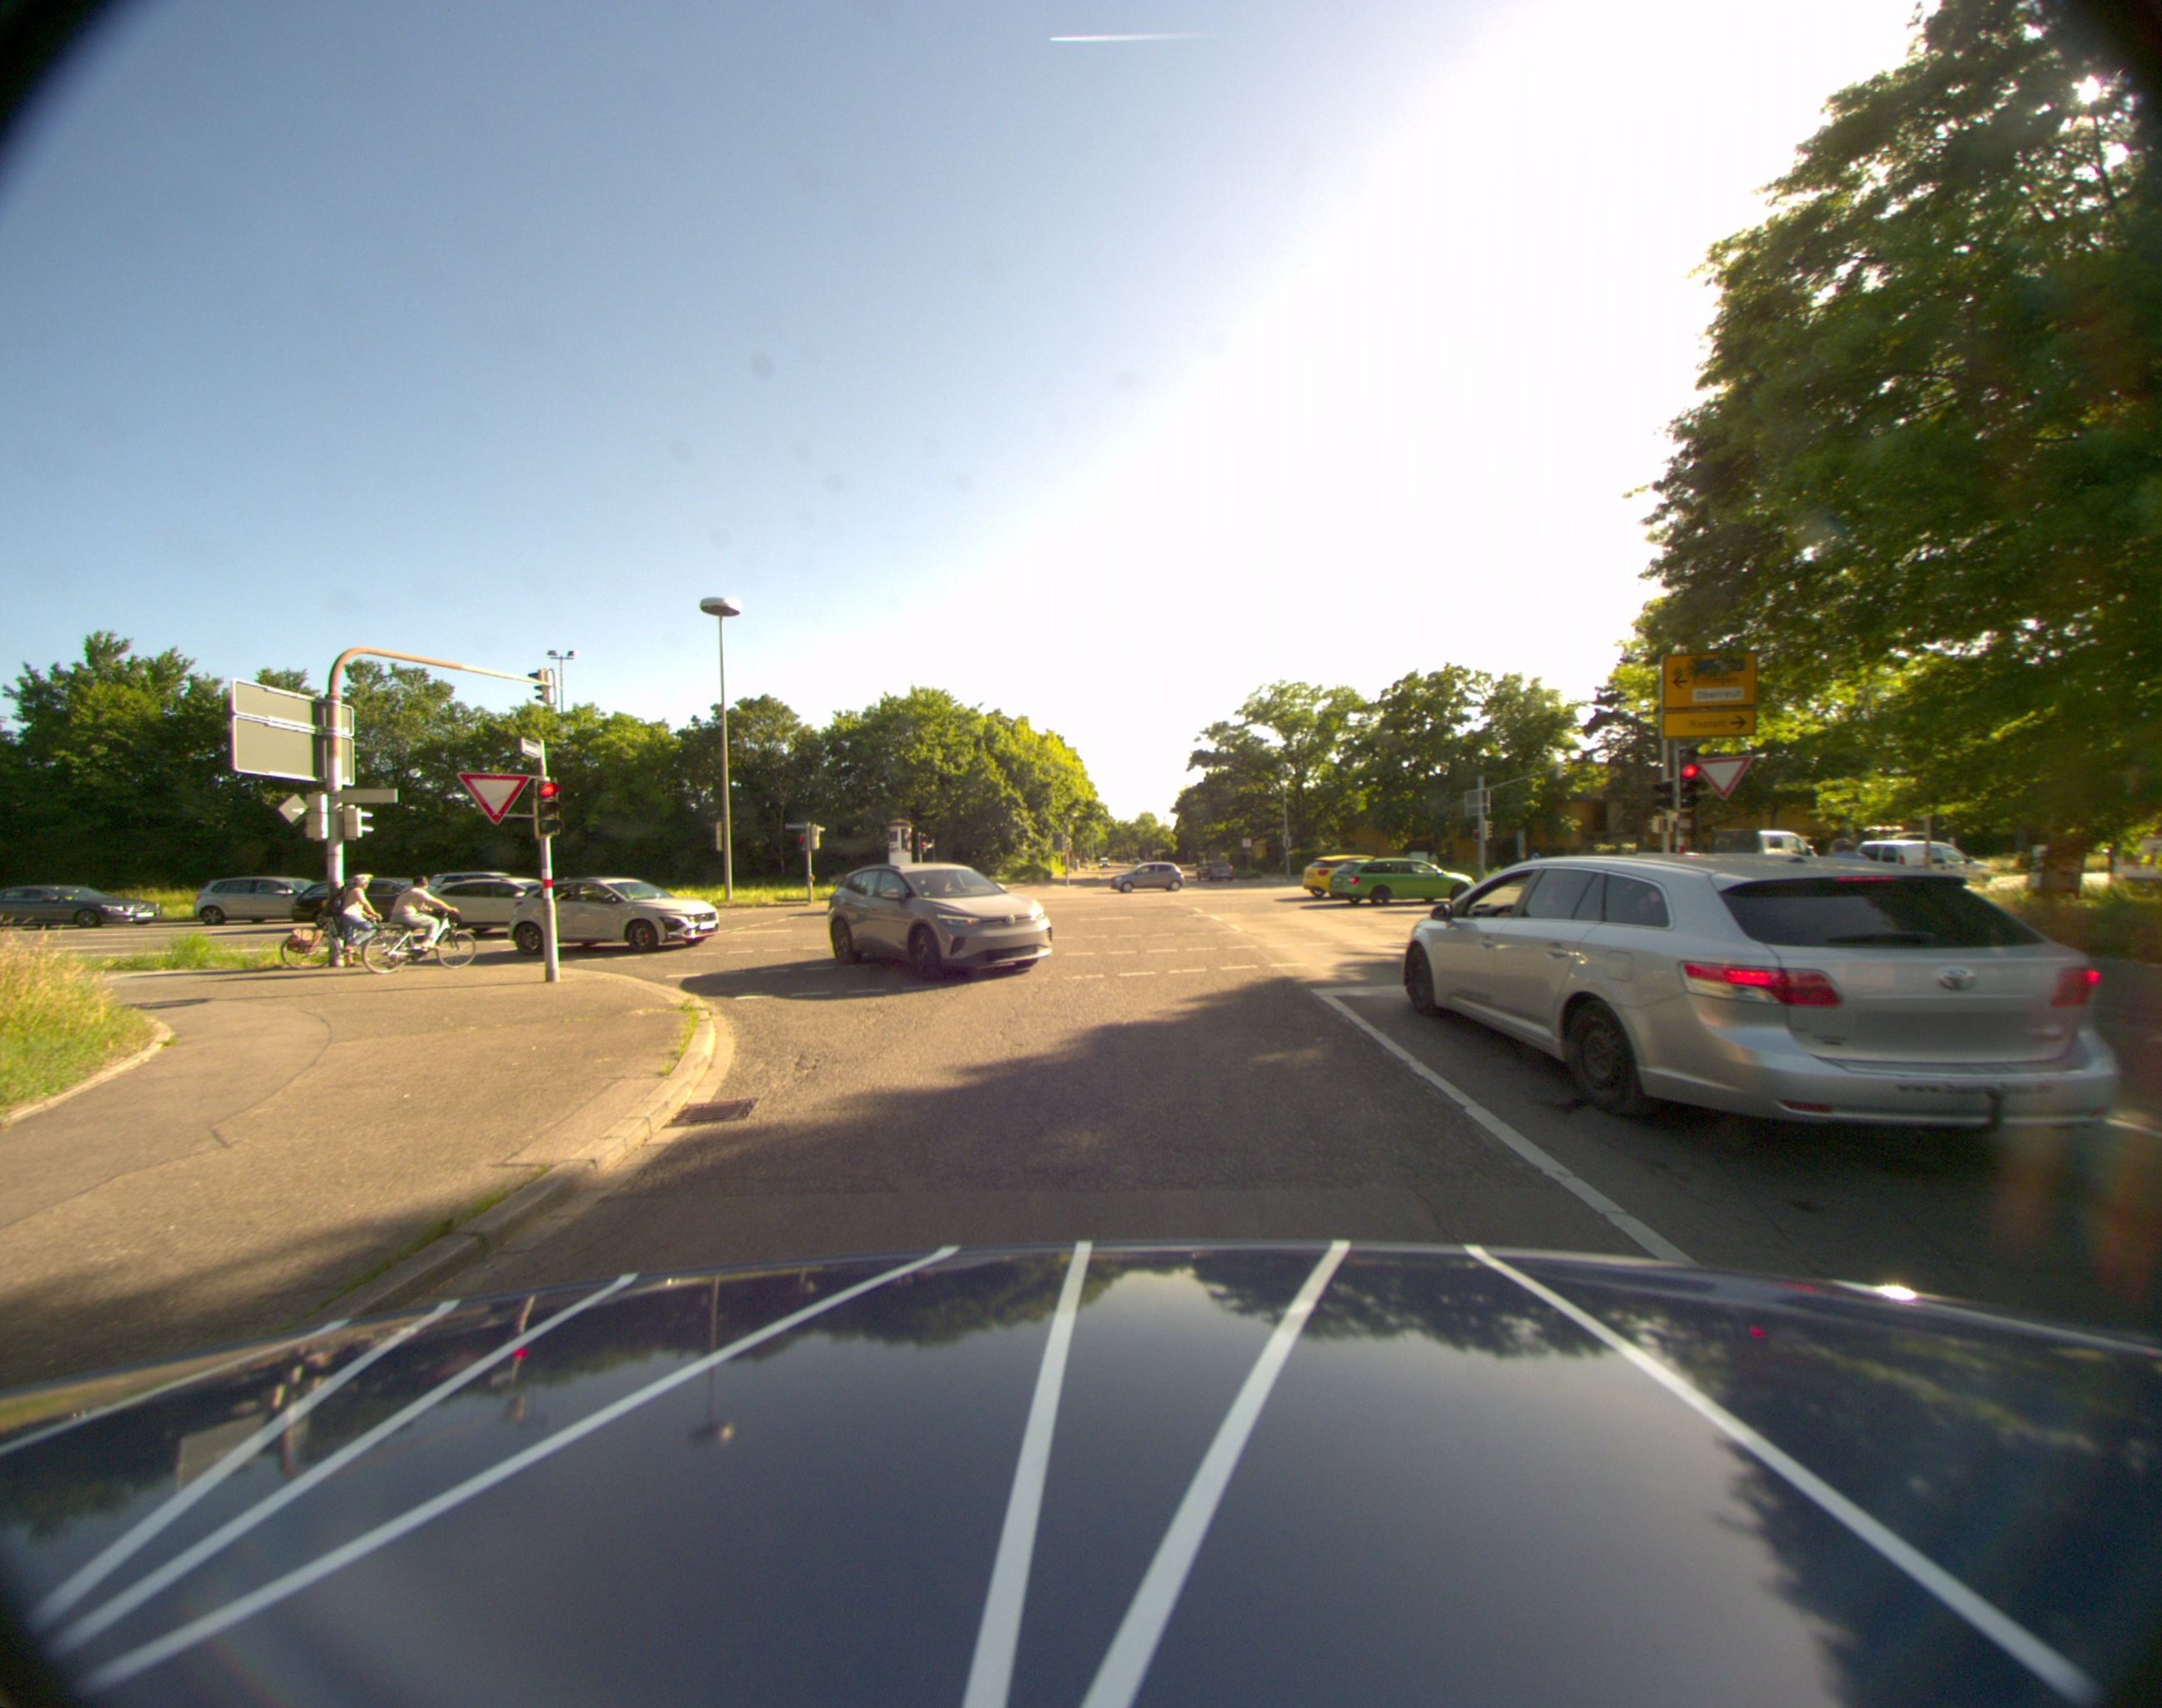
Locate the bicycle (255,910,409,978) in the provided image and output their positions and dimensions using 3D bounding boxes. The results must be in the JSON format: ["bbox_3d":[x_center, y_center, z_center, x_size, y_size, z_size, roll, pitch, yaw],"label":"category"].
[{"bbox_3d":[-13.464,1.587,13.723,0.529,1.070,1.875,1,-2,32],"label":"bicycle"}]

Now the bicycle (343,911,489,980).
[{"bbox_3d":[-11.526,1.555,13.259,0.530,1.069,1.873,1,-3,16],"label":"bicycle"}]

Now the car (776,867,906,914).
[{"bbox_3d":[-8.004,1.195,25.622,3.912,1.431,1.691,-1,1,-8],"label":"car"}]

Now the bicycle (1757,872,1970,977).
[{"bbox_3d":[9.681,0.813,9.538,0.528,1.135,2.026,-1,0,-2],"label":"bicycle"}]

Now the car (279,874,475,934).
[{"bbox_3d":[-21.196,1.475,23.063,4.002,1.532,1.621,-1,2,-16],"label":"car"}]

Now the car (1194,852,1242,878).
[{"bbox_3d":[9.692,0.763,54.183,1.809,1.643,4.098,-1,2,-15],"label":"car"}]

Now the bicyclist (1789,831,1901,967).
[{"bbox_3d":[9.631,0.550,9.607,0.542,1.632,0.830,-1,0,-2],"label":"bicyclist"}]

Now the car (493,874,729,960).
[{"bbox_3d":[-10.024,1.328,16.350,4.115,1.564,1.693,-2,2,8],"label":"car"}]

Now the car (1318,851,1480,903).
[{"bbox_3d":[10.036,0.692,24.173,4.363,1.477,1.919,-1,2,-6],"label":"car"}]

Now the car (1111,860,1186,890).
[{"bbox_3d":[3.443,1.054,39.080,3.597,1.423,1.552,-1,0,-7],"label":"car"}]

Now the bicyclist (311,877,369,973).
[{"bbox_3d":[-13.429,1.269,13.773,0.525,1.686,0.587,1,-1,32],"label":"bicyclist"}]

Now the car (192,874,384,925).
[{"bbox_3d":[-27.030,1.516,26.049,4.243,1.565,1.878,-1,0,-8],"label":"car"}]

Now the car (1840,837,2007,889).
[{"bbox_3d":[30.074,0.273,27.172,4.365,1.719,1.918,-1,2,-10],"label":"car"}]

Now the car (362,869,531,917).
[{"bbox_3d":[-22.211,1.333,26.742,4.195,1.528,1.835,-1,0,-8],"label":"car"}]

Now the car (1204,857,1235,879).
[{"bbox_3d":[9.828,0.965,53.998,1.639,1.391,3.890,-1,2,2],"label":"car"}]

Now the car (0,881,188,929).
[{"bbox_3d":[-33.189,1.675,25.261,4.355,1.396,1.835,-1,0,-8],"label":"car"}]

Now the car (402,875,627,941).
[{"bbox_3d":[-14.854,1.379,20.179,4.364,1.477,1.919,-1,2,-7],"label":"car"}]

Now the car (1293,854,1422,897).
[{"bbox_3d":[10.075,0.764,27.764,4.121,1.431,1.691,-1,1,-8],"label":"car"}]

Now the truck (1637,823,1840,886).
[{"bbox_3d":[26.009,-0.009,30.139,6.774,2.296,2.190,-1,0,-9],"label":"truck"}]

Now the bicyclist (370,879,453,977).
[{"bbox_3d":[-11.565,1.258,13.150,0.542,1.625,0.809,1,-3,15],"label":"bicyclist"}]

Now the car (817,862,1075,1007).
[{"bbox_3d":[-2.266,1.031,11.809,1.998,1.631,4.351,-3,3,-40],"label":"car"}]

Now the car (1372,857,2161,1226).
[{"bbox_3d":[3.835,0.784,5.583,1.840,1.480,4.891,0,0,4],"label":"car"}]
